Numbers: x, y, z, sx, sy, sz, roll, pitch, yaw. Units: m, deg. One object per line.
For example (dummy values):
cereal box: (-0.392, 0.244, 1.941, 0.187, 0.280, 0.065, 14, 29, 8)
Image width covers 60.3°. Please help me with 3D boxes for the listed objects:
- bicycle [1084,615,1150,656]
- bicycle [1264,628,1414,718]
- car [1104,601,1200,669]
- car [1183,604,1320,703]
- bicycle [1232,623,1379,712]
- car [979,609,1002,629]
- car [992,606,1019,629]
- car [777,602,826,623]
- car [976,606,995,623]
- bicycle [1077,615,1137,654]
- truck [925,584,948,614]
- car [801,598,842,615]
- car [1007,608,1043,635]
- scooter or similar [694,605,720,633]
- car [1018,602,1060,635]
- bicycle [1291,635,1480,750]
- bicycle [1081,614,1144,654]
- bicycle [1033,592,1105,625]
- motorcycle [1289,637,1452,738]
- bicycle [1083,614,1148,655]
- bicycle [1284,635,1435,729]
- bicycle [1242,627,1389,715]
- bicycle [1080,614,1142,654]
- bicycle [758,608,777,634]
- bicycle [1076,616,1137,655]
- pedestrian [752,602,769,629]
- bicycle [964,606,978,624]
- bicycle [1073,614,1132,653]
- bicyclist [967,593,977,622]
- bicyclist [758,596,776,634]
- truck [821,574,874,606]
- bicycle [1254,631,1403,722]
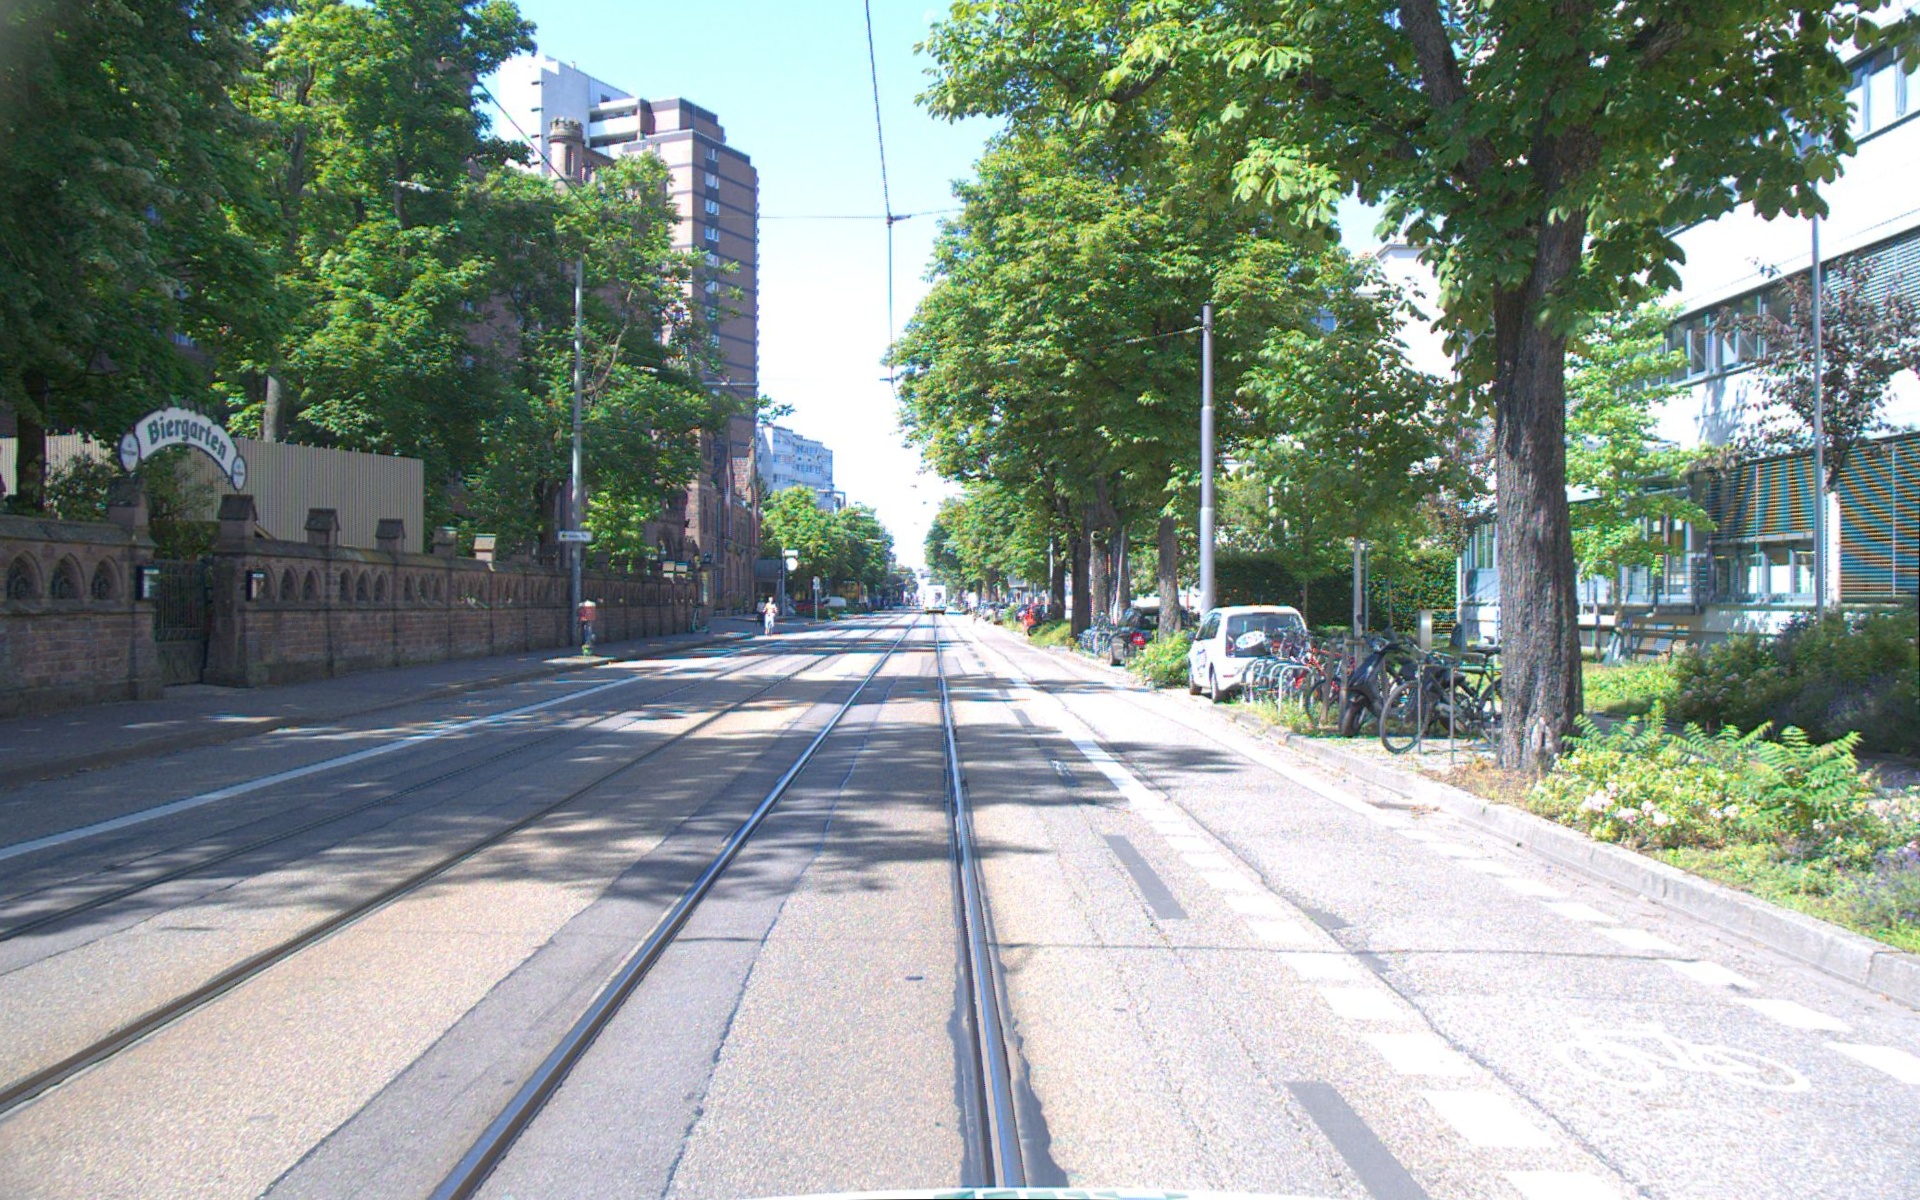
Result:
bicycle: (4.239, 0.956, 44.681, 1.689, 1.105, 0.628, 0, 0, -2)
bicycle: (4.853, 0.927, 21.239, 1.756, 1.105, 0.726, 0, 0, -2)
car: (4.477, 0.777, 39.082, 1.597, 1.509, 4.271, 0, 0, -3)
car: (4.657, 0.815, 26.847, 1.596, 1.498, 3.630, 0, 0, 0)
bicycle: (4.804, 0.932, 23.092, 1.865, 1.190, 0.819, 0, 0, -2)
car: (2.348, 1.423, 127.432, 1.597, 1.498, 4.113, 0, 0, -1)
car: (2.992, 1.137, 109.557, 1.597, 1.498, 4.113, 0, 0, -1)
car: (-13.857, 1.085, 145.050, 3.959, 1.842, 1.864, 0, -1, -38)
car: (2.329, 1.328, 153.053, 1.597, 1.498, 4.113, 0, 0, -1)
bicycle: (4.270, 0.996, 48.187, 1.689, 1.105, 0.478, 0, 0, -2)
truck: (-2.536, -0.103, 174.237, 2.354, 3.163, 6.035, 0, 0, -1)
car: (-14.886, 0.733, 177.888, 3.947, 1.780, 1.979, 0, 0, -32)
car: (3.432, 1.137, 87.881, 1.597, 1.378, 3.899, 0, 0, -3)
scooter or similar: (-10.729, 0.796, 70.173, 0.327, 1.149, 1.181, 0, -1, 38)
car: (3.714, 0.858, 78.033, 1.597, 1.498, 3.717, 0, 0, -3)
bicycle: (4.275, 0.919, 16.696, 1.689, 1.105, 0.789, 0, 0, -2)
bicycle: (4.230, 0.947, 45.982, 1.689, 1.105, 0.570, 0, 0, -2)
bicycle: (4.540, 0.353, 68.991, 2.965, 1.355, 1.041, 0, 0, 2)
motorcycle: (4.689, 0.988, 18.946, 1.689, 1.105, 0.658, 0, 0, -2)
bicycle: (4.261, 0.950, 45.340, 1.689, 1.105, 0.696, 0, 0, -2)
bicycle: (4.904, 0.999, 20.353, 1.689, 1.105, 0.639, 0, 0, -2)
bicycle: (4.811, 0.952, 22.445, 1.835, 1.161, 0.686, 0, 0, -2)
bicycle: (4.251, 0.949, 46.570, 1.689, 1.105, 0.589, 0, 0, -2)
bicycle: (-8.815, 0.957, 75.748, 0.649, 1.174, 2.013, 0, 0, -1)
bicycle: (4.210, 1.010, 47.627, 1.689, 1.105, 0.614, 0, 0, -2)
pedestrian: (-11.439, 0.865, 94.731, 0.867, 1.538, 1.472, 0, 0, -10)
bicycle: (0.716, 0.984, 107.032, 0.838, 1.129, 2.139, 0, 0, -2)
bicycle: (4.196, 0.980, 48.670, 1.689, 1.105, 0.478, 0, 0, -2)
bicyclist: (0.754, 0.491, 107.190, 0.623, 1.904, 1.024, 0, 0, -2)
bicyclist: (-8.815, 0.676, 75.709, 0.710, 1.728, 1.146, 0, 0, -2)
truck: (-13.971, -1.192, 206.948, 2.755, 3.927, 10.001, 0, 0, 21)
bicycle: (4.836, 1.000, 21.767, 1.811, 1.152, 0.680, 0, 0, -2)
